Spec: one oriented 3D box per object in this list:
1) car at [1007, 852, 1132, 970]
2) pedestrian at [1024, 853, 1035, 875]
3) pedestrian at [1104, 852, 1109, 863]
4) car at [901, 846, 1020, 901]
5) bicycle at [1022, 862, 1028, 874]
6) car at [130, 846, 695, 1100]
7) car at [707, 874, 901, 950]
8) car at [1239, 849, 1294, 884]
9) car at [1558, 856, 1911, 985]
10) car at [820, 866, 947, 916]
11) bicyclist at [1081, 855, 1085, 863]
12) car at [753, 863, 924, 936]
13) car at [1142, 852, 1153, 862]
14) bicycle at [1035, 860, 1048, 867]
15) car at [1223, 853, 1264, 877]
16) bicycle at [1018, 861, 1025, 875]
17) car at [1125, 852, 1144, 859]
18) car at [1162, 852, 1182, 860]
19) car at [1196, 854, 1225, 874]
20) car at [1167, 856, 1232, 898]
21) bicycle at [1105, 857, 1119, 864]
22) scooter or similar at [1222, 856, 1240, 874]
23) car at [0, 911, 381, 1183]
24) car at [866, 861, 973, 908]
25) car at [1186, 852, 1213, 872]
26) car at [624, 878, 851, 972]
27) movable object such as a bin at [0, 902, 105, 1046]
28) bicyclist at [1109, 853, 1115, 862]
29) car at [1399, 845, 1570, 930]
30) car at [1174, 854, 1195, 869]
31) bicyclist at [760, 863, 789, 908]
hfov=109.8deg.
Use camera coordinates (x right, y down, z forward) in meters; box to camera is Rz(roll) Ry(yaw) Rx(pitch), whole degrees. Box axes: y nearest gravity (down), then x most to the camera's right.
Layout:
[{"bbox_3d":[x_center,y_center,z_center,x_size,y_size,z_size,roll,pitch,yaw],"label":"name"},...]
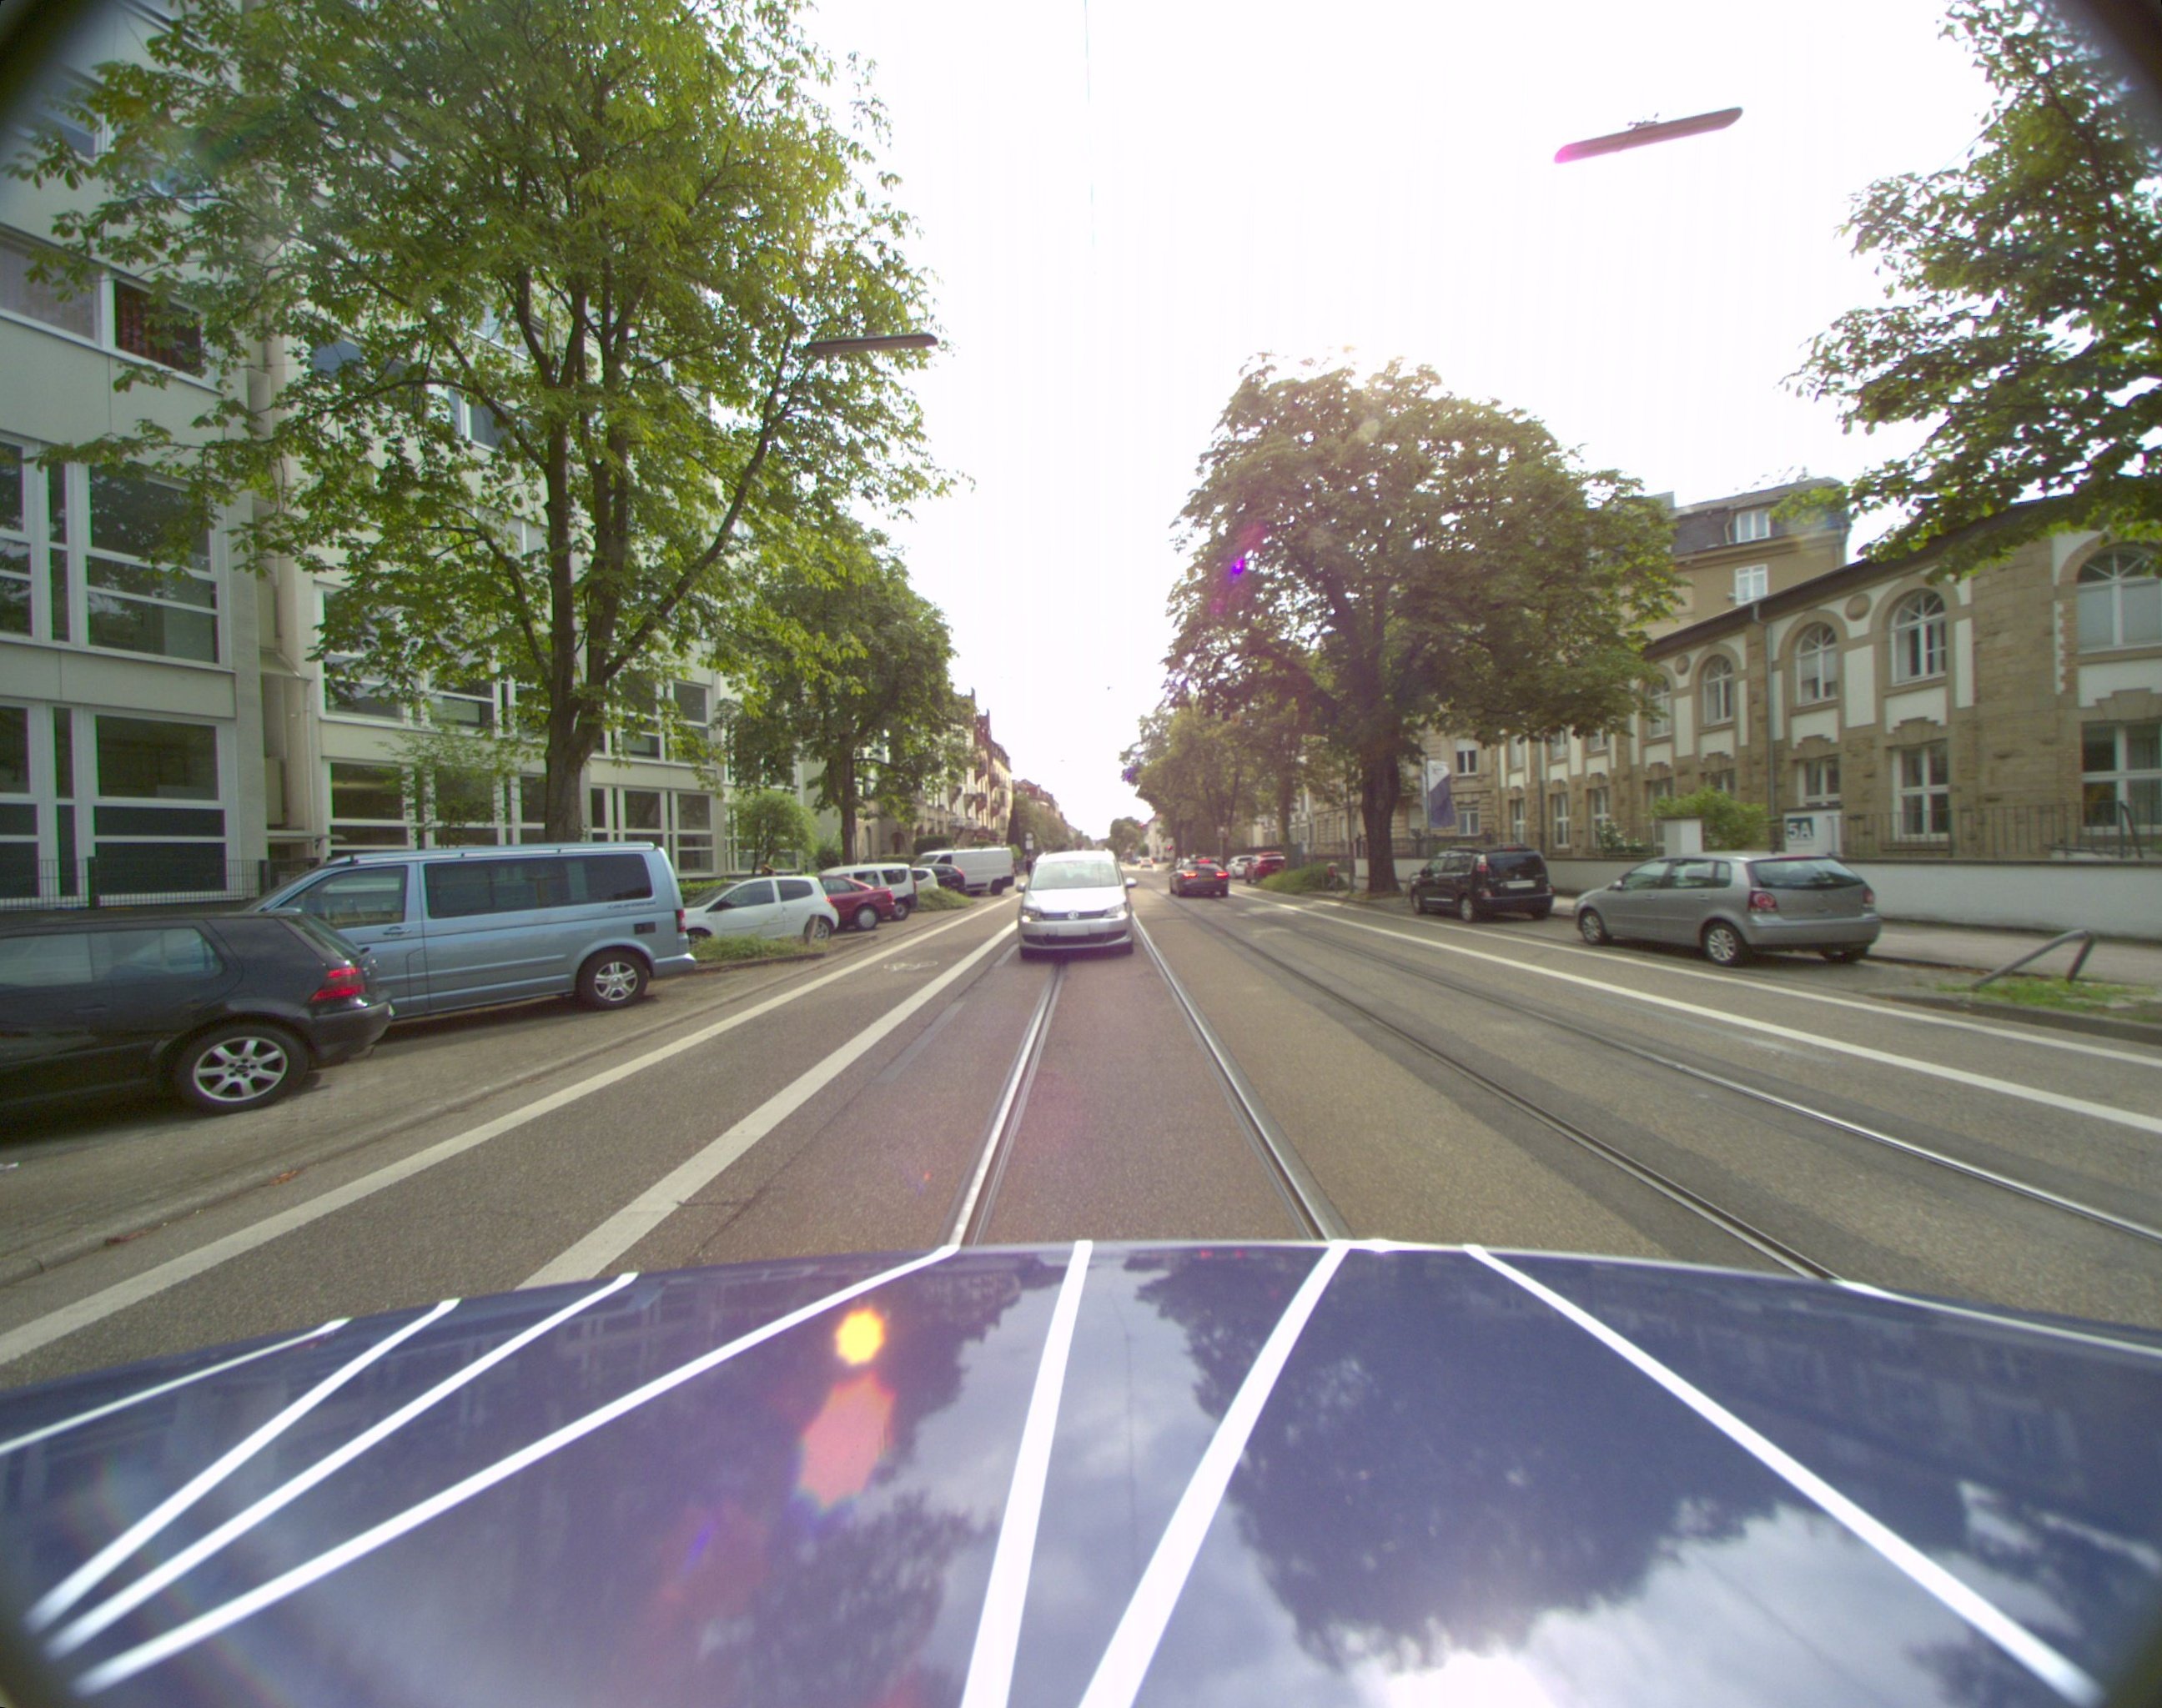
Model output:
[{"bbox_3d":[-0.085,0.852,13.472,1.767,1.661,4.330,-3,0,2],"label":"car"},{"bbox_3d":[-4.194,0.816,62.147,0.787,1.723,0.896,1,0,1],"label":"pedestrian"},{"bbox_3d":[3.895,0.575,115.767,0.721,1.651,0.759,2,0,-2],"label":"pedestrian"},{"bbox_3d":[-5.606,0.852,35.706,4.968,2.277,2.378,-3,1,-41],"label":"car"},{"bbox_3d":[-5.114,1.260,69.420,0.392,1.096,1.759,0,0,2],"label":"bicycle"},{"bbox_3d":[-6.947,1.002,8.474,4.284,2.003,1.826,-3,1,-43],"label":"car"},{"bbox_3d":[-6.555,1.300,18.214,3.983,1.424,1.685,-3,1,-41],"label":"car"},{"bbox_3d":[9.786,0.627,40.341,1.725,1.645,4.542,-4,0,0],"label":"car"},{"bbox_3d":[8.869,0.779,10.831,1.697,1.419,3.868,-3,0,1],"label":"car"},{"bbox_3d":[-7.095,1.293,27.547,4.100,1.502,1.685,-3,1,-43],"label":"car"},{"bbox_3d":[0.338,0.815,123.421,0.571,1.366,0.615,-2,1,9],"label":"bicyclist"},{"bbox_3d":[-6.635,1.175,21.061,4.116,1.658,1.685,-3,1,-44],"label":"car"},{"bbox_3d":[9.321,0.468,106.844,1.574,1.408,4.002,0,0,5],"label":"car"},{"bbox_3d":[-6.582,1.567,127.927,2.194,1.019,0.616,-2,0,33],"label":"bicycle"},{"bbox_3d":[10.395,0.676,48.934,1.725,1.415,4.023,-4,0,0],"label":"car"},{"bbox_3d":[-5.258,1.213,66.708,0.392,1.135,1.921,0,0,2],"label":"bicycle"},{"bbox_3d":[12.366,0.350,174.271,3.991,1.622,1.681,-2,0,20],"label":"car"},{"bbox_3d":[20.407,0.390,170.518,3.989,1.622,1.682,-2,0,32],"label":"car"},{"bbox_3d":[10.071,0.767,59.343,1.604,1.459,4.079,-2,0,1],"label":"car"},{"bbox_3d":[4.501,0.823,29.507,1.839,1.439,4.553,-2,0,1],"label":"car"},{"bbox_3d":[5.068,0.999,123.662,2.197,1.019,0.615,-2,0,11],"label":"bicycle"},{"bbox_3d":[10.314,0.765,52.222,0.563,1.216,1.321,-2,0,-22],"label":"scooter or similar"},{"bbox_3d":[-7.289,1.287,4.986,1.672,1.451,3.836,-2,1,45],"label":"car"},{"bbox_3d":[-6.601,1.210,31.271,3.968,1.639,1.685,-3,1,-43],"label":"car"},{"bbox_3d":[10.371,0.671,66.944,1.714,1.664,4.357,-2,0,1],"label":"car"},{"bbox_3d":[-6.747,1.301,15.140,3.723,1.424,1.685,-3,1,-43],"label":"car"},{"bbox_3d":[-12.167,1.342,8.357,1.072,1.499,1.323,-3,0,2],"label":"movable object such as a bin"},{"bbox_3d":[5.056,0.550,123.667,0.710,1.421,0.615,-2,1,11],"label":"bicyclist"},{"bbox_3d":[9.038,0.679,17.439,1.760,1.637,4.052,-3,0,1],"label":"car"},{"bbox_3d":[10.725,0.781,79.119,1.724,1.416,4.166,-4,0,3],"label":"car"},{"bbox_3d":[-10.173,1.049,25.243,0.649,1.461,0.800,0,0,-1],"label":"bicyclist"}]
